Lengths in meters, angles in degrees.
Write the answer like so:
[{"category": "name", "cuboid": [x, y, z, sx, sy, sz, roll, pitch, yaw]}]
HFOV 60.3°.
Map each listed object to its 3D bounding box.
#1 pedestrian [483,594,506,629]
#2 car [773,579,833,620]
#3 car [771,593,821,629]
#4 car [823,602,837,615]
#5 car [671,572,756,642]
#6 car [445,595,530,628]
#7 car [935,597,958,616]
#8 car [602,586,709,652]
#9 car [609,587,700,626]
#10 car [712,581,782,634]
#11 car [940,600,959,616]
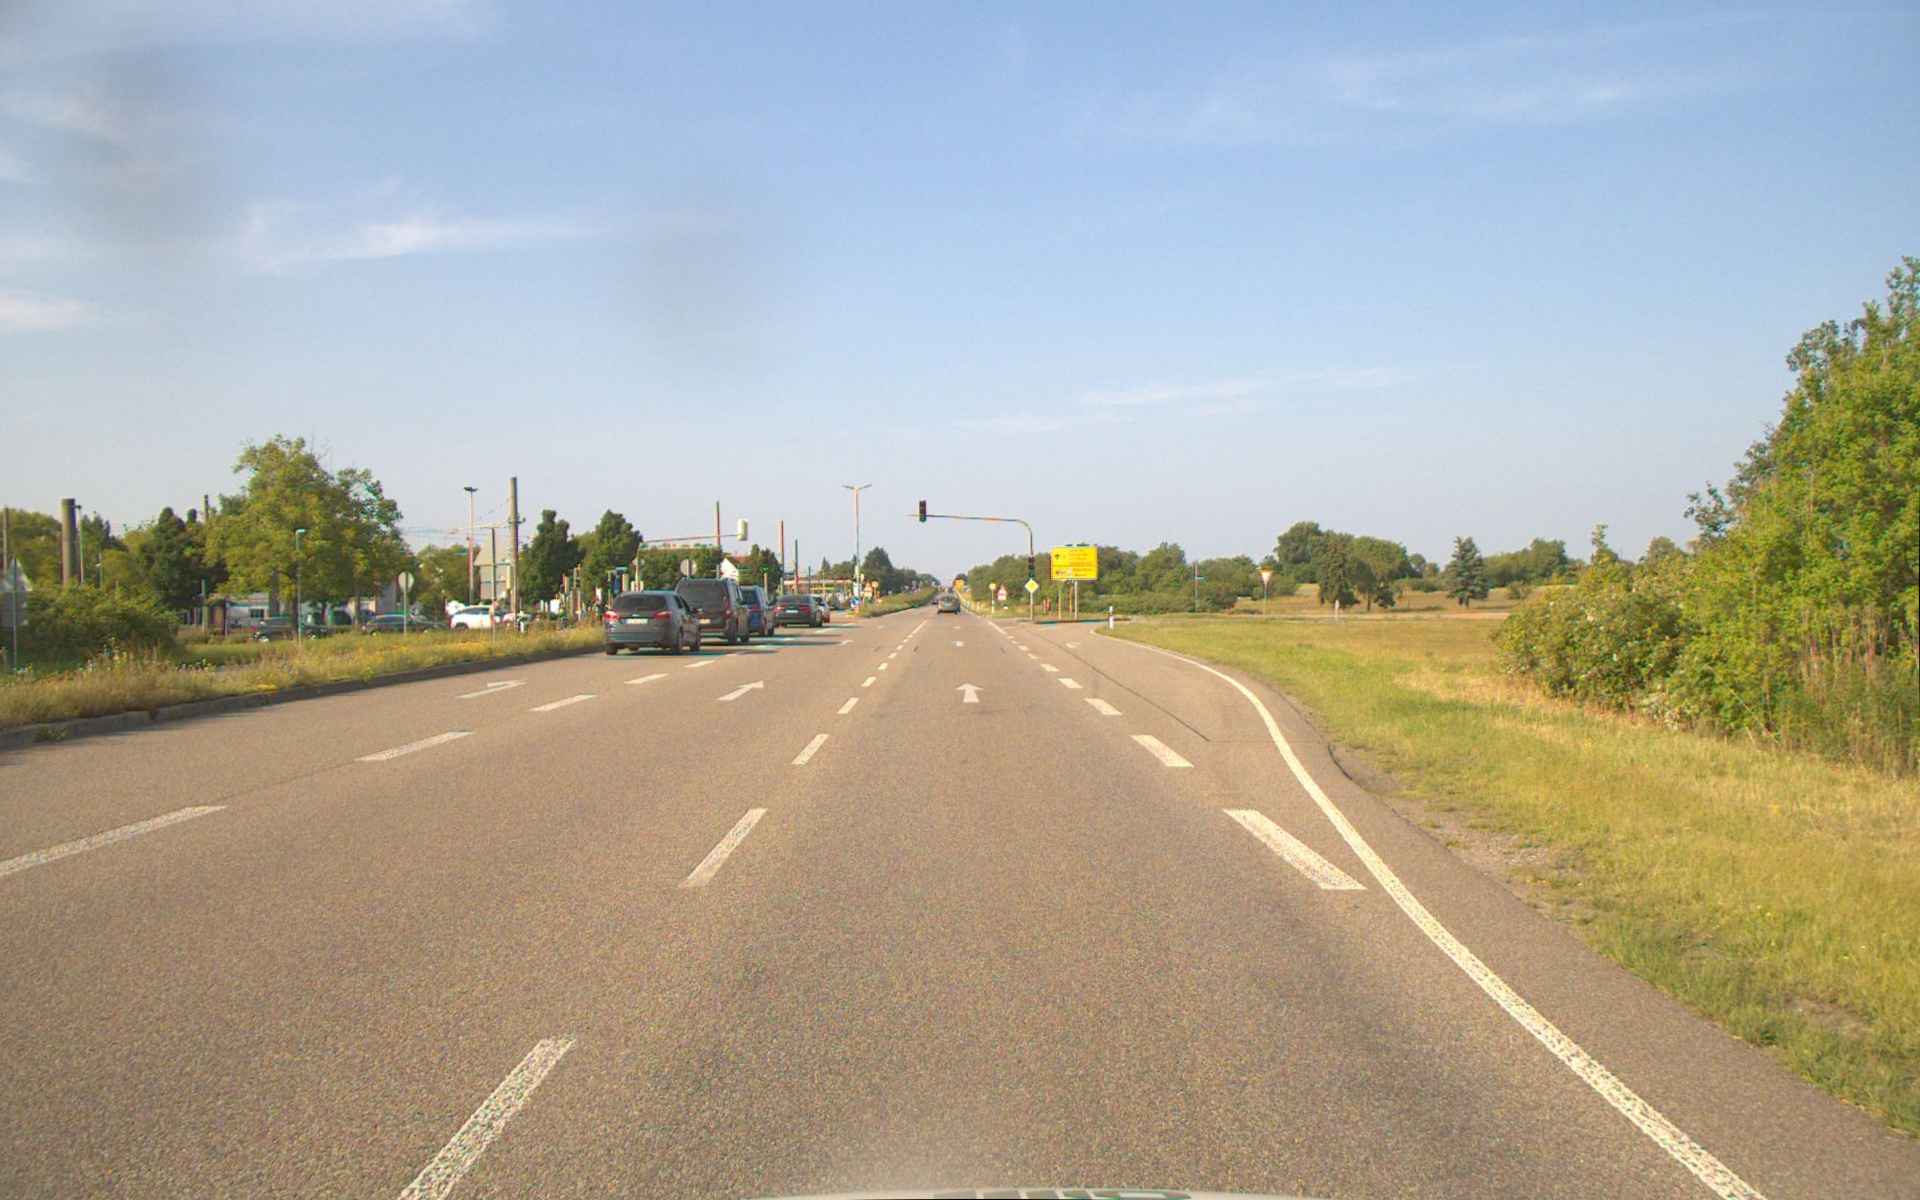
[{"category": "pedestrian", "cuboid": [-23.313, 0.583, 82.784, 0.898, 1.736, 1.066, 1, -1, -6]}, {"category": "car", "cuboid": [-8.092, -0.055, 84.913, 1.806, 2.049, 3.968, 0, 0, -25]}, {"category": "car", "cuboid": [-7.118, 0.472, 71.945, 1.733, 1.497, 4.015, 0, 0, 0]}, {"category": "car", "cuboid": [-17.848, 1.200, 227.375, 1.653, 1.691, 3.758, 0, 0, 0]}, {"category": "car", "cuboid": [-6.934, 0.176, 46.867, 1.696, 1.888, 4.520, 0, 0, 0]}, {"category": "car", "cuboid": [-25.182, 0.622, 88.196, 3.902, 1.691, 1.888, 1, -1, 11]}, {"category": "car", "cuboid": [-1.138, 0.577, 144.248, 1.953, 1.579, 4.000, 0, 0, 0]}, {"category": "car", "cuboid": [-7.228, 0.422, 39.680, 1.696, 1.481, 4.520, 0, 0, 0]}, {"category": "car", "cuboid": [-16.867, 0.369, 91.489, 4.724, 2.049, 1.999, -1, -2, -3]}, {"category": "car", "cuboid": [-7.179, 0.242, 56.115, 1.733, 1.708, 4.520, 0, 0, 0]}, {"category": "car", "cuboid": [-1.095, 0.809, 173.772, 1.953, 1.579, 4.000, 0, 0, 0]}]
